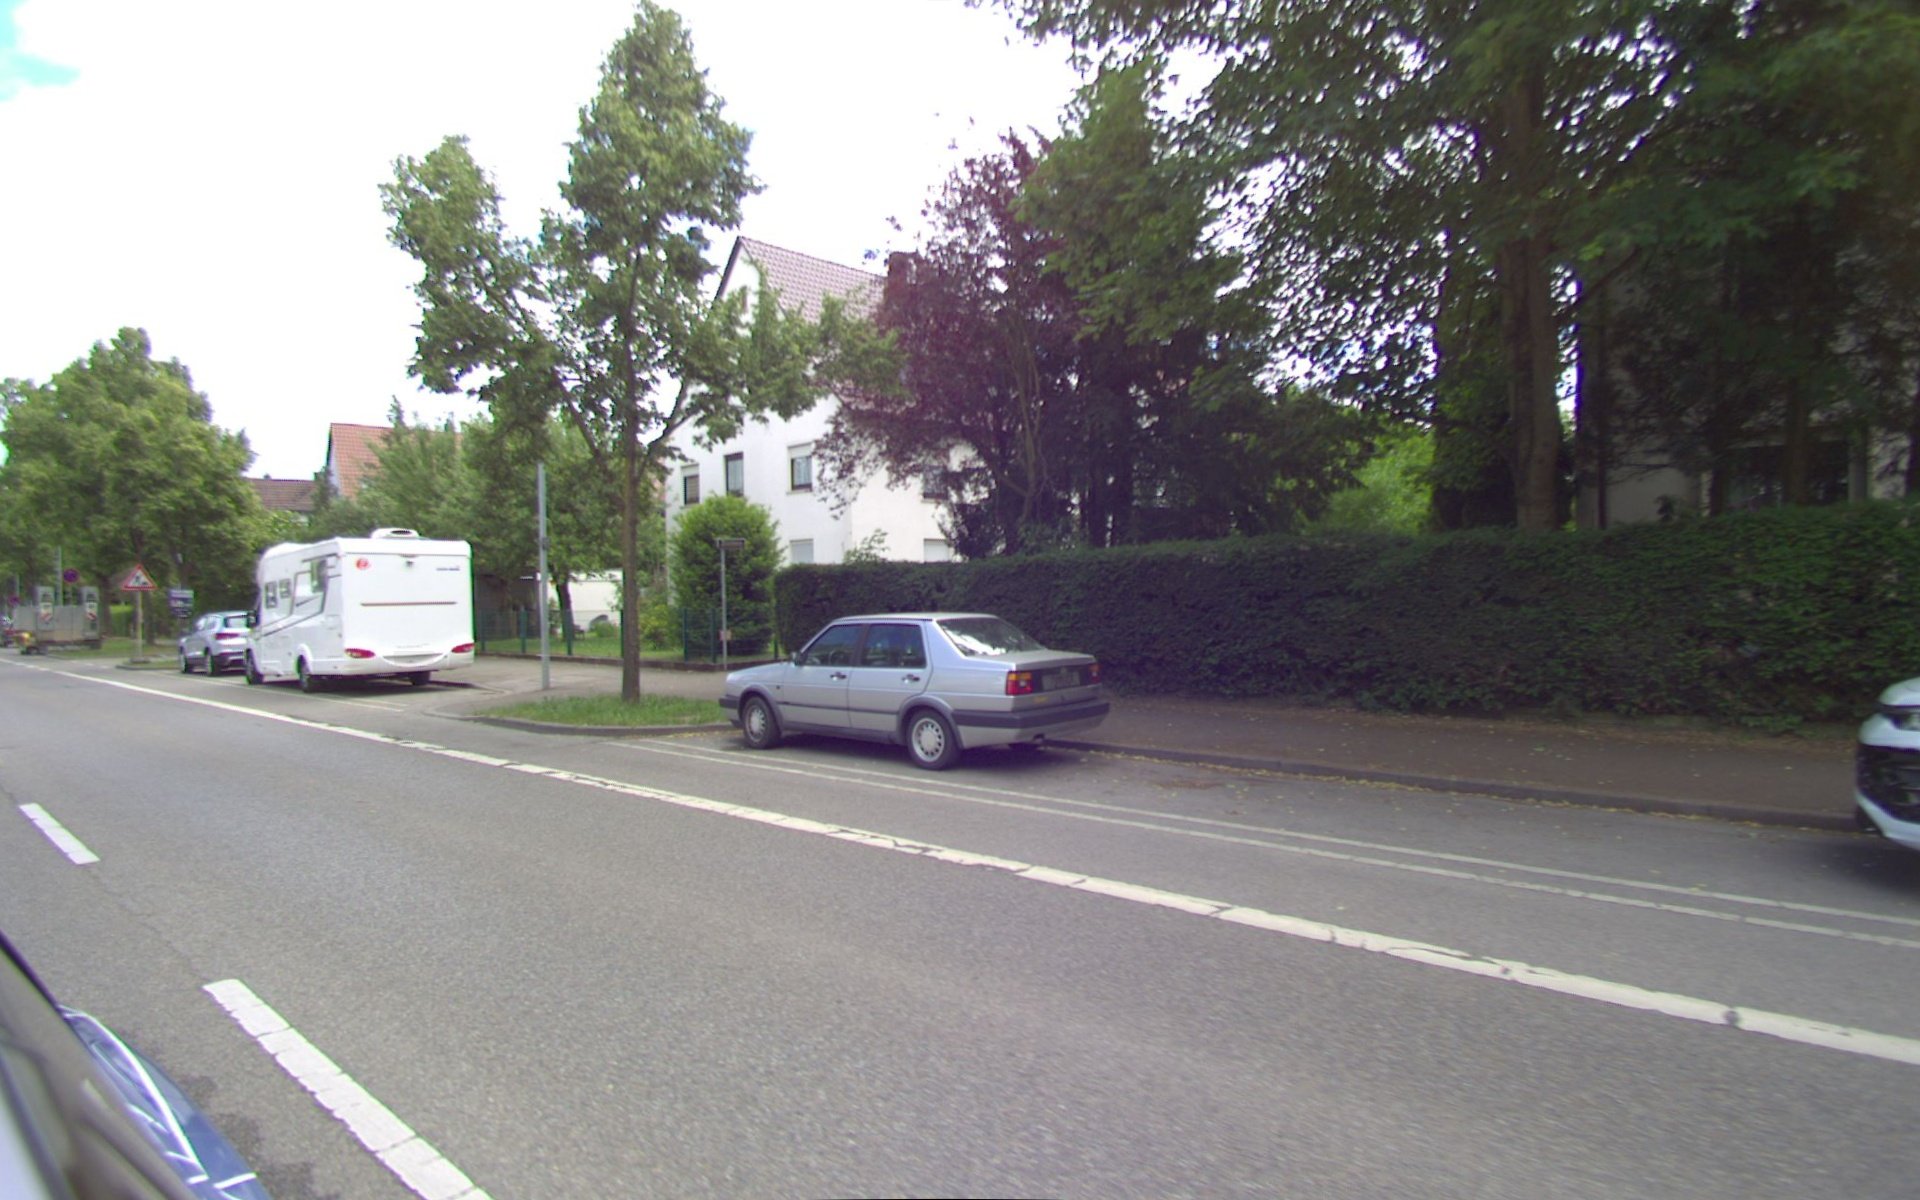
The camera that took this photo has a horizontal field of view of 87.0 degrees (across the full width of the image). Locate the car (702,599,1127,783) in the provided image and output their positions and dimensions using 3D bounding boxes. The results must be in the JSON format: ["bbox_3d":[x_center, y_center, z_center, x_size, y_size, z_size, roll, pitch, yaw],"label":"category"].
[{"bbox_3d":[-0.637,0.783,10.310,4.448,1.481,1.540,-1,0,40],"label":"car"}]

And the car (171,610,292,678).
[{"bbox_3d":[-19.103,1.096,26.481,4.271,1.612,1.704,-1,0,42],"label":"car"}]

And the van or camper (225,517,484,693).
[{"bbox_3d":[-12.753,0.139,20.948,7.690,3.032,2.409,-1,-1,42],"label":"van or camper"}]

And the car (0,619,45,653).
[{"bbox_3d":[-51.718,1.937,55.443,4.619,1.564,1.841,1,2,42],"label":"car"}]

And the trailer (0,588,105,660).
[{"bbox_3d":[-41.045,1.019,45.614,7.471,2.963,2.646,0,1,41],"label":"trailer"}]

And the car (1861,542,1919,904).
[{"bbox_3d":[6.592,0.513,3.829,4.699,1.664,1.797,-1,0,43],"label":"car"}]
